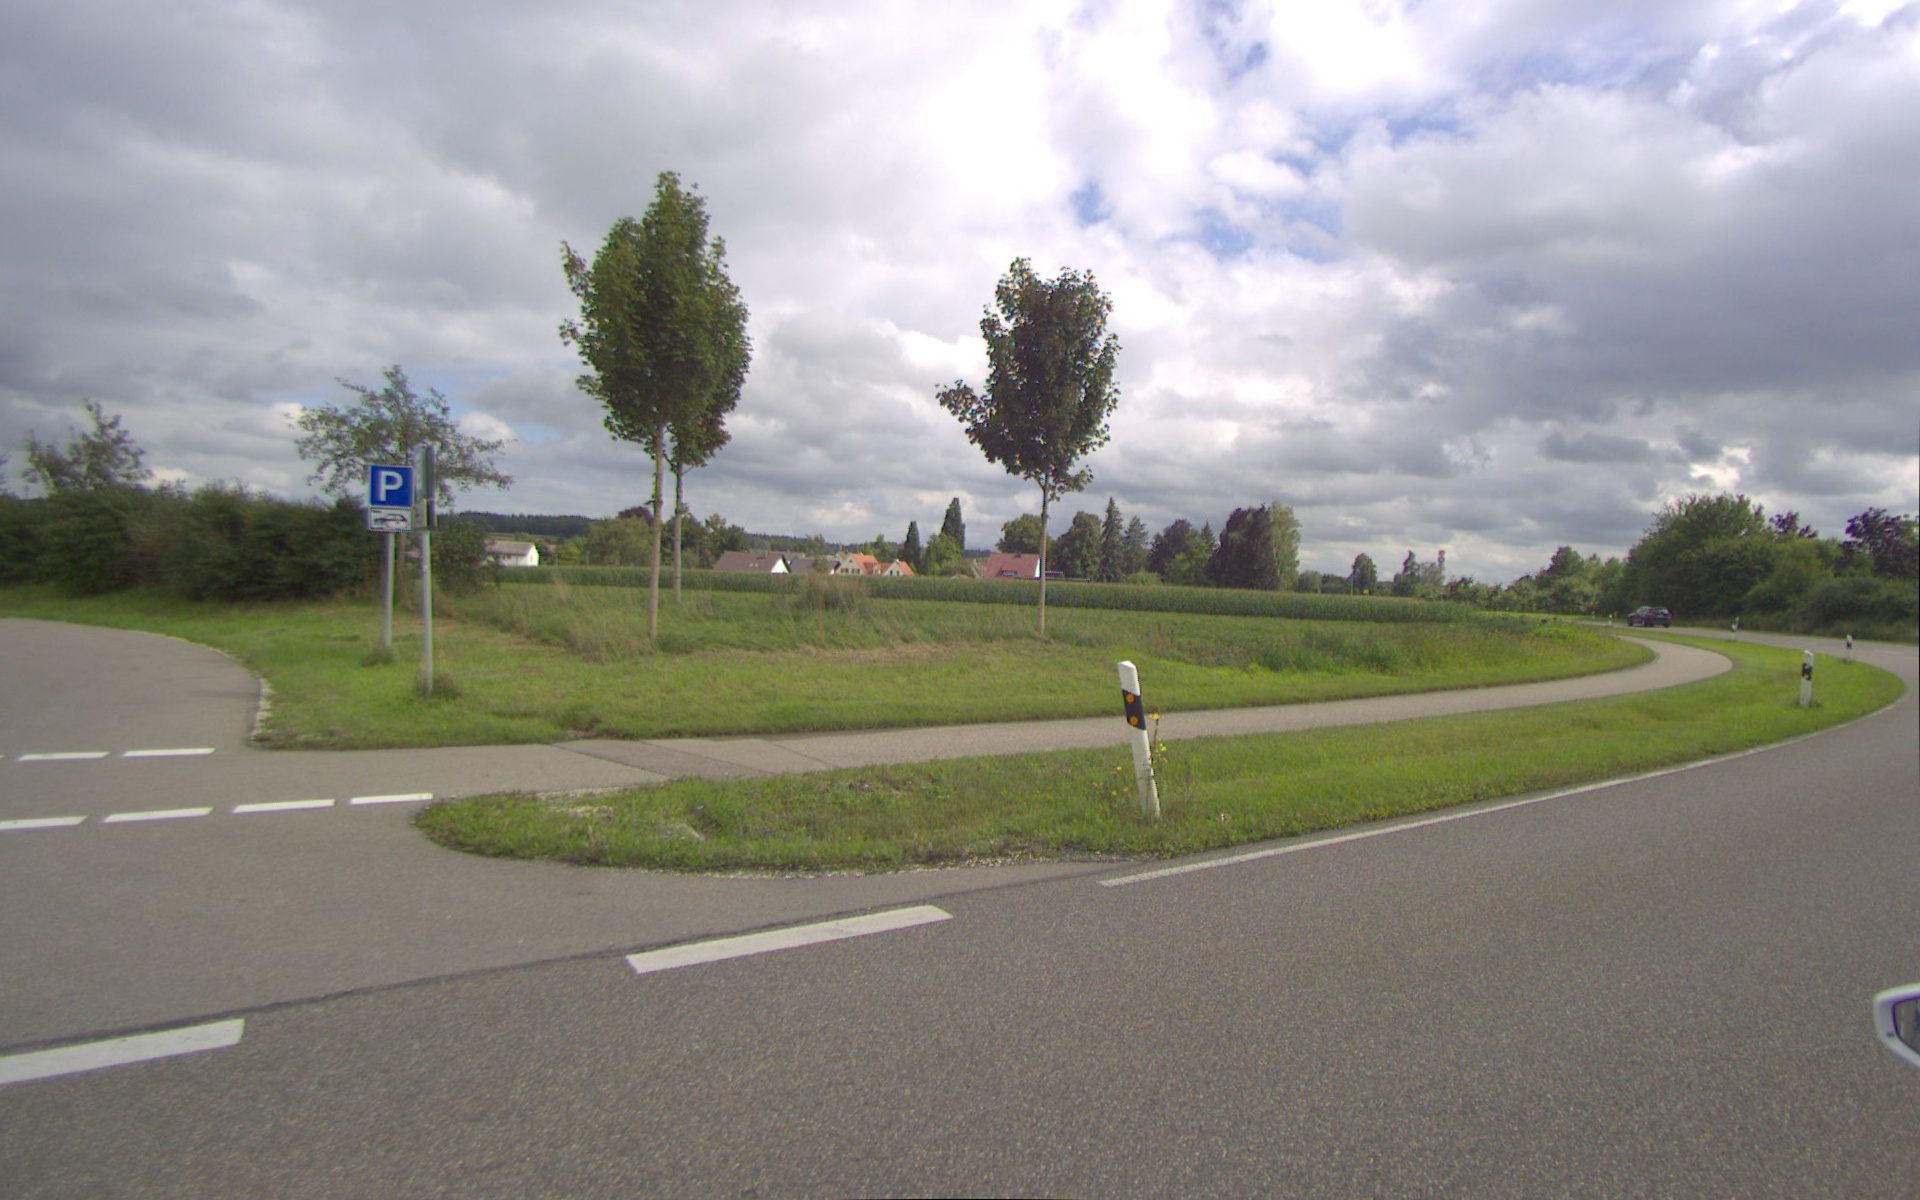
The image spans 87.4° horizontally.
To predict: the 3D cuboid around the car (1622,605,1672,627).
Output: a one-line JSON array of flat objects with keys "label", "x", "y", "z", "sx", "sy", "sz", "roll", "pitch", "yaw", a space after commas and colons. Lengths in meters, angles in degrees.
[{"label": "car", "x": 56.774, "y": 1.283, "z": 83.103, "sx": 1.874, "sy": 1.689, "sz": 4.002, "roll": 2, "pitch": 1, "yaw": 10}]
